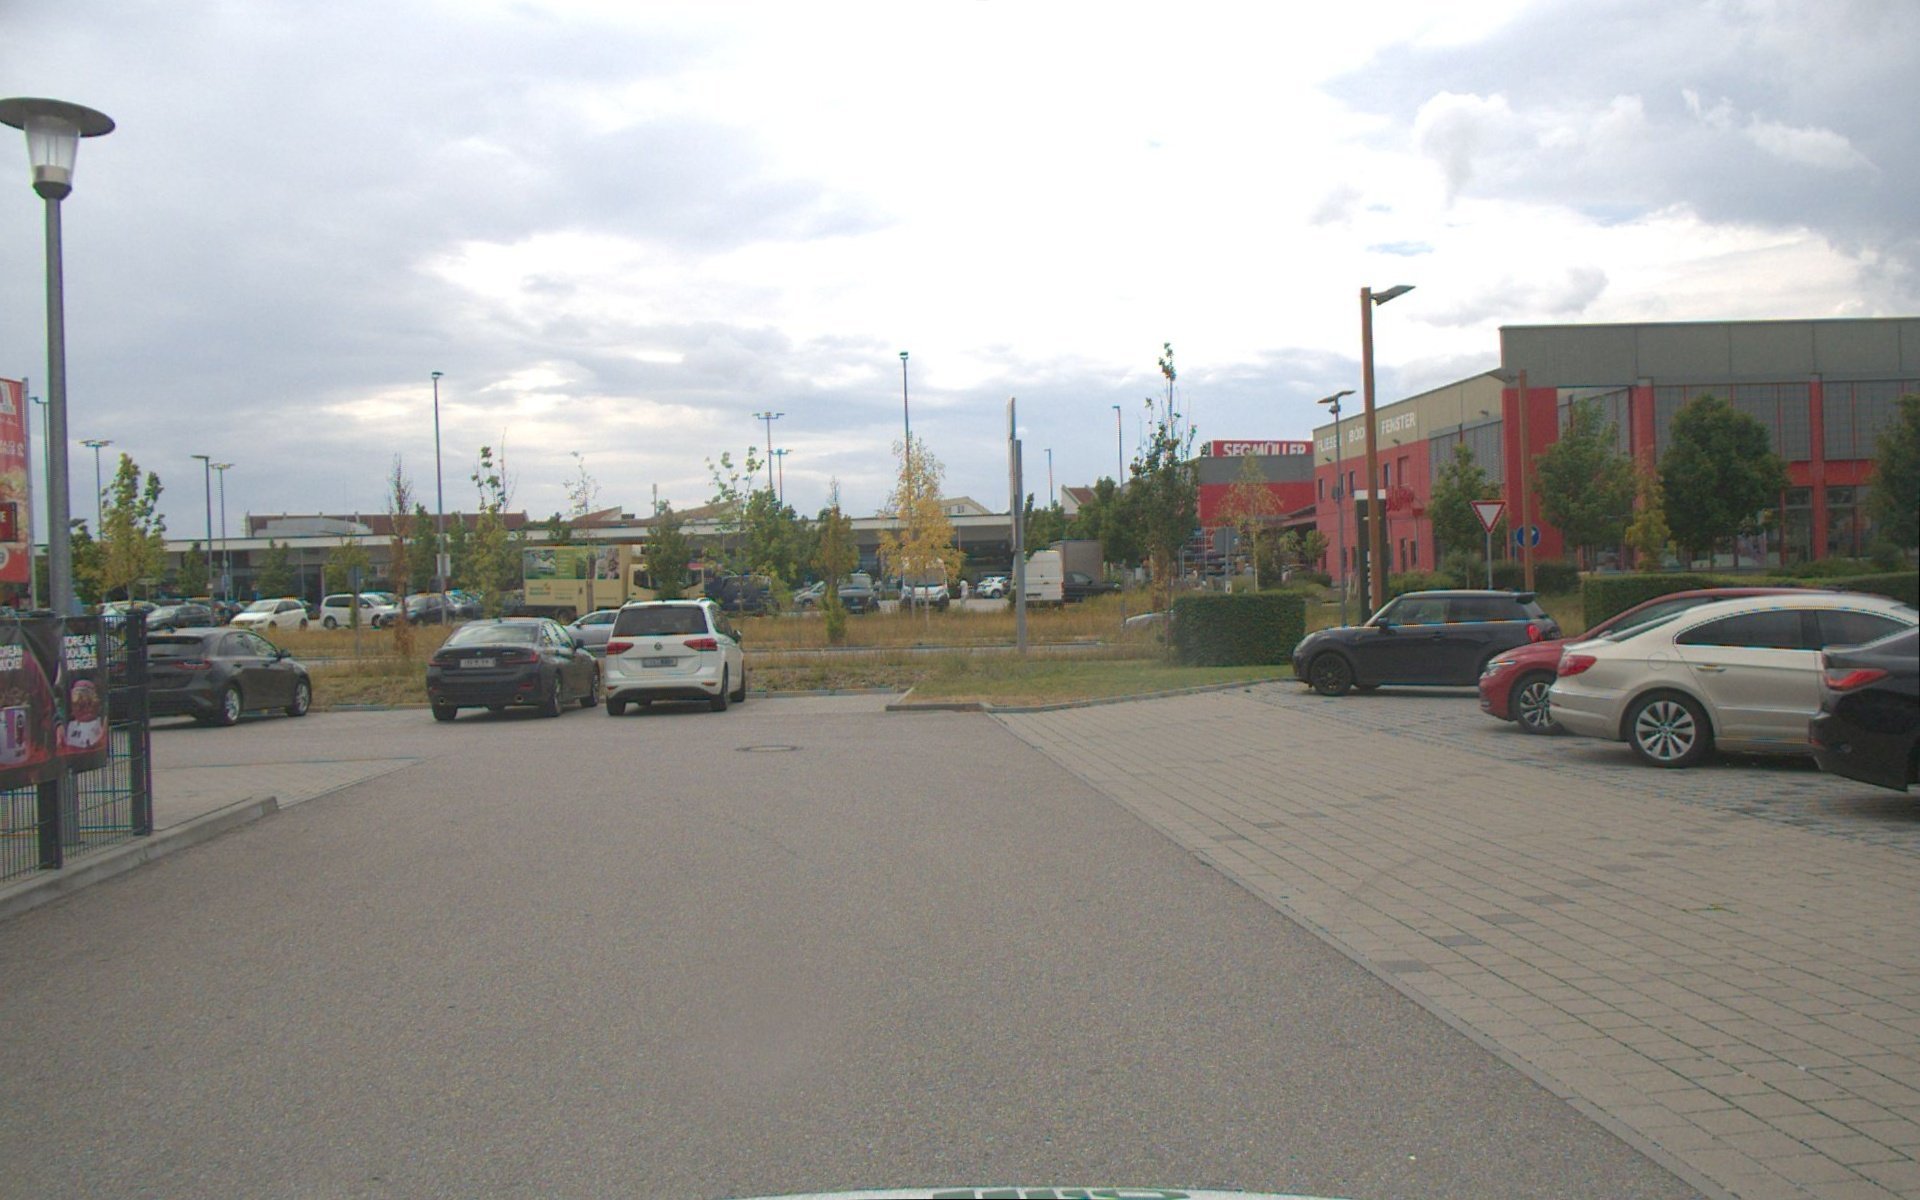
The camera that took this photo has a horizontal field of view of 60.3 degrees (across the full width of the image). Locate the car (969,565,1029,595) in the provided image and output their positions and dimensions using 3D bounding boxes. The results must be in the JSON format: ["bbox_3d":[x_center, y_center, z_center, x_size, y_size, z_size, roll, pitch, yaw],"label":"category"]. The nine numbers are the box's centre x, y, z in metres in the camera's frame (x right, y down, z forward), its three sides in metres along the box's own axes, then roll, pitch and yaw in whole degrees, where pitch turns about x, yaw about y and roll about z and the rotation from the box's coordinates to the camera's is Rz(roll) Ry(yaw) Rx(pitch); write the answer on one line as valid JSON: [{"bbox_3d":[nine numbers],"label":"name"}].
[{"bbox_3d":[2.585,-1.343,109.887,3.906,1.869,2.000,-2,2,-1],"label":"car"}]

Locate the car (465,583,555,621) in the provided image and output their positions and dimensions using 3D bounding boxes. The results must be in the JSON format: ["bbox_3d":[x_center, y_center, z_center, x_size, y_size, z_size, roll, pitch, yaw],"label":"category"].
[{"bbox_3d":[-23.853,0.105,87.850,4.221,1.802,1.999,-2,2,-3],"label":"car"}]

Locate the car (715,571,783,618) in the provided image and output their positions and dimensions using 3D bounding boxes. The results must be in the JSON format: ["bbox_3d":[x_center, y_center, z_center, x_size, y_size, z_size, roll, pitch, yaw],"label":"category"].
[{"bbox_3d":[-9.101,-0.227,71.742,2.028,1.917,5.072,-1,0,2],"label":"car"}]

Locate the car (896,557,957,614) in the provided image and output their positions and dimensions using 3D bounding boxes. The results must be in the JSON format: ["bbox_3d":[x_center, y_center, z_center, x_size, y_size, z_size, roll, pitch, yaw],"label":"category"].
[{"bbox_3d":[-1.505,-0.683,71.478,2.360,2.252,6.056,-1,2,-3],"label":"car"}]

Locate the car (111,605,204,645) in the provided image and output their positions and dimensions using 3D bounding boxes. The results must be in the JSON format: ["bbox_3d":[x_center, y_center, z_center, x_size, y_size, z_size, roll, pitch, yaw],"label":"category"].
[{"bbox_3d":[-36.469,1.098,75.245,1.728,1.566,4.059,-2,2,9],"label":"car"}]

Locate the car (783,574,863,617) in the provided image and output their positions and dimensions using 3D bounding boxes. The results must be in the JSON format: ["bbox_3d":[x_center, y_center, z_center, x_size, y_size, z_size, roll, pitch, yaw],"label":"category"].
[{"bbox_3d":[-7.180,-0.261,86.285,3.916,2.048,1.995,-2,2,-11],"label":"car"}]

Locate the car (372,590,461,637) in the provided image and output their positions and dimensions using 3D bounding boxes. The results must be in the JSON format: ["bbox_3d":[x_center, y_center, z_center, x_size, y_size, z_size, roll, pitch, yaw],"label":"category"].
[{"bbox_3d":[-23.888,0.573,72.809,1.884,1.802,4.326,-2,2,9],"label":"car"}]

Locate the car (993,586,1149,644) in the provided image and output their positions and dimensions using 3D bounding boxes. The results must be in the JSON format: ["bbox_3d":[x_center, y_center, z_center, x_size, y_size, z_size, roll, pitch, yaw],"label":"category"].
[{"bbox_3d":[3.444,0.446,51.828,4.739,1.579,1.803,-2,2,1],"label":"car"}]

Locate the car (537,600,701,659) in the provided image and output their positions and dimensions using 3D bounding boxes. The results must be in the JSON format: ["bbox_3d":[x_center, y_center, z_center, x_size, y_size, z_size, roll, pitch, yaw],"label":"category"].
[{"bbox_3d":[-10.696,0.908,52.120,4.741,1.579,1.802,-2,2,-2],"label":"car"}]

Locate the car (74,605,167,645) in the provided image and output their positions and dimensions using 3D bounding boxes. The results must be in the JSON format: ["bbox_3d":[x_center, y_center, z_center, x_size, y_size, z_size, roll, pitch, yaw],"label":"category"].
[{"bbox_3d":[-38.601,1.143,76.154,1.728,1.566,4.059,-2,2,9],"label":"car"}]

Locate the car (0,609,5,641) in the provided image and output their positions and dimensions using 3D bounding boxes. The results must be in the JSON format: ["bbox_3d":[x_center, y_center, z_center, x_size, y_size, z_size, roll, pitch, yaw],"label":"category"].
[{"bbox_3d":[-47.789,1.313,79.035,1.729,1.566,3.767,-2,2,6],"label":"car"}]

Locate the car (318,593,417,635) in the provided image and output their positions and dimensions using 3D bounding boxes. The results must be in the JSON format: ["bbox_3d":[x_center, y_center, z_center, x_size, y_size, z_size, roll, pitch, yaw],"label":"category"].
[{"bbox_3d":[-28.171,0.648,78.667,3.902,1.802,2.002,-2,2,14],"label":"car"}]

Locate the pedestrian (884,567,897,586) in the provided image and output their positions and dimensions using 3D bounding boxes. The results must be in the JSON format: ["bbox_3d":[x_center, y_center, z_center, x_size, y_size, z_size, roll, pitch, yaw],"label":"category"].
[{"bbox_3d":[-5.502,-1.886,130.649,0.647,1.453,0.787,-3,2,-41],"label":"pedestrian"}]

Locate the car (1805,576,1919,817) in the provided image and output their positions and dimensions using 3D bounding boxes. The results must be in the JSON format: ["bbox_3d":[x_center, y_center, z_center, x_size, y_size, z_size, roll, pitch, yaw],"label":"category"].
[{"bbox_3d":[7.622,0.572,9.942,4.320,1.489,1.680,-1,0,37],"label":"car"}]

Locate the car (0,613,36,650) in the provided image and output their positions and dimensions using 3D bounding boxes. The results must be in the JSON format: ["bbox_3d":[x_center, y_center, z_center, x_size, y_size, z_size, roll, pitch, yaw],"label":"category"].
[{"bbox_3d":[-43.712,1.481,73.708,1.952,1.566,4.163,-1,2,19],"label":"car"}]

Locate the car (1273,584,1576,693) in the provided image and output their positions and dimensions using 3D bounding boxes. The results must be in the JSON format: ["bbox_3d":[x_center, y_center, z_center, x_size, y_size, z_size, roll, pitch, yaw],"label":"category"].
[{"bbox_3d":[6.591,0.515,23.589,3.848,1.437,1.682,-1,0,33],"label":"car"}]

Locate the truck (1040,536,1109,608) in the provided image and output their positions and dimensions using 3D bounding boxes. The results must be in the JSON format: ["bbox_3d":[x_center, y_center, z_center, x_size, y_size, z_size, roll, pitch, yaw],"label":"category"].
[{"bbox_3d":[6.345,-1.624,92.757,2.596,3.808,8.250,-2,2,-4],"label":"truck"}]

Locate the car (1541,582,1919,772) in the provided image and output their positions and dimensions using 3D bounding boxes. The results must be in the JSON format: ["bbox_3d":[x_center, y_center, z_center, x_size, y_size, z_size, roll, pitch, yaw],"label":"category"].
[{"bbox_3d":[7.271,0.581,13.646,4.370,1.437,1.747,-1,0,36],"label":"car"}]

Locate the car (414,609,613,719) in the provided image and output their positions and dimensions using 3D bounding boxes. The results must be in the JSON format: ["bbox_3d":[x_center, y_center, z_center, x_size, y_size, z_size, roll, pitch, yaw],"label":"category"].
[{"bbox_3d":[-6.728,0.952,25.450,1.902,1.492,4.514,-1,-1,-1],"label":"car"}]

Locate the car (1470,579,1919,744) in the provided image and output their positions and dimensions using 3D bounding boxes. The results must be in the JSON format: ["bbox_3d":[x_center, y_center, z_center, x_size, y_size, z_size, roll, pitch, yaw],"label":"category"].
[{"bbox_3d":[7.387,0.562,16.772,3.919,1.490,1.681,-1,0,35],"label":"car"}]

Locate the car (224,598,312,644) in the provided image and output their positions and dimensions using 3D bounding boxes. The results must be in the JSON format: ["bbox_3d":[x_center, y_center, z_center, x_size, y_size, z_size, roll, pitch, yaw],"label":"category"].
[{"bbox_3d":[-31.014,0.921,74.275,1.952,1.802,4.323,-2,2,2],"label":"car"}]

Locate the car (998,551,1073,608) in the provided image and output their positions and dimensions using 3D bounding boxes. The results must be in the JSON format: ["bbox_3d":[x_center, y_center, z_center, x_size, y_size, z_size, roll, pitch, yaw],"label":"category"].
[{"bbox_3d":[3.215,-0.948,71.651,2.293,2.307,6.499,-2,2,-5],"label":"car"}]

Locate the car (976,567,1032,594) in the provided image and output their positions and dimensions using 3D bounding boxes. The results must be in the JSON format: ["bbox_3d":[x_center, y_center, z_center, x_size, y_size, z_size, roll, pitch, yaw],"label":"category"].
[{"bbox_3d":[3.125,-1.432,118.533,3.906,1.766,1.934,-2,2,-1],"label":"car"}]

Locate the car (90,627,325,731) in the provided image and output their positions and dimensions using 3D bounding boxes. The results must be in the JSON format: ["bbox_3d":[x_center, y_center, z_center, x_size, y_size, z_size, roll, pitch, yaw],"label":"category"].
[{"bbox_3d":[-11.527,1.180,25.657,1.844,1.437,4.069,-1,-1,-1],"label":"car"}]

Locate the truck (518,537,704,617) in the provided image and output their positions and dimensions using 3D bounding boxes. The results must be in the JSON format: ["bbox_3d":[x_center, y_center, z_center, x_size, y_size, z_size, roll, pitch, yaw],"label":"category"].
[{"bbox_3d":[-15.296,-0.962,72.150,8.259,3.251,3.020,-1,2,35],"label":"truck"}]

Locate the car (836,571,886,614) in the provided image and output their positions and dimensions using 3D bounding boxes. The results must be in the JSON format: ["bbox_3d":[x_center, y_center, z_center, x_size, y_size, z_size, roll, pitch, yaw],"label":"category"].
[{"bbox_3d":[-4.248,-0.352,71.054,2.030,1.667,5.067,-1,2,-3],"label":"car"}]

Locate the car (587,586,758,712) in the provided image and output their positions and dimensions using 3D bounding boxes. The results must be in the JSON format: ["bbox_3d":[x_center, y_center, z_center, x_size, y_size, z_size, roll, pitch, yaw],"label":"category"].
[{"bbox_3d":[-4.332,0.746,25.569,1.945,1.743,4.371,-1,-1,-1],"label":"car"}]

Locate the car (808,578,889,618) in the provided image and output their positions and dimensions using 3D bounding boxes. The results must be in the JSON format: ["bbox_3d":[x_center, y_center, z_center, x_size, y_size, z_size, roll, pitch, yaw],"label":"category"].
[{"bbox_3d":[-5.517,-0.120,82.124,3.908,1.768,1.890,-2,2,-4],"label":"car"}]

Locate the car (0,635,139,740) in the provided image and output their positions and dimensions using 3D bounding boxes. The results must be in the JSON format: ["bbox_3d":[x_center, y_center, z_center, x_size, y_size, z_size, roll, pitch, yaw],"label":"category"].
[{"bbox_3d":[-14.554,1.306,25.114,1.867,1.482,4.740,-1,-1,-1],"label":"car"}]

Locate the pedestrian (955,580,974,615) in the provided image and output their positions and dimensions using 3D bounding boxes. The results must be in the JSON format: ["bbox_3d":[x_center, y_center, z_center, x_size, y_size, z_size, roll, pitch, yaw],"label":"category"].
[{"bbox_3d":[0.188,-0.110,70.936,0.769,1.453,0.978,-2,2,-2],"label":"pedestrian"}]
